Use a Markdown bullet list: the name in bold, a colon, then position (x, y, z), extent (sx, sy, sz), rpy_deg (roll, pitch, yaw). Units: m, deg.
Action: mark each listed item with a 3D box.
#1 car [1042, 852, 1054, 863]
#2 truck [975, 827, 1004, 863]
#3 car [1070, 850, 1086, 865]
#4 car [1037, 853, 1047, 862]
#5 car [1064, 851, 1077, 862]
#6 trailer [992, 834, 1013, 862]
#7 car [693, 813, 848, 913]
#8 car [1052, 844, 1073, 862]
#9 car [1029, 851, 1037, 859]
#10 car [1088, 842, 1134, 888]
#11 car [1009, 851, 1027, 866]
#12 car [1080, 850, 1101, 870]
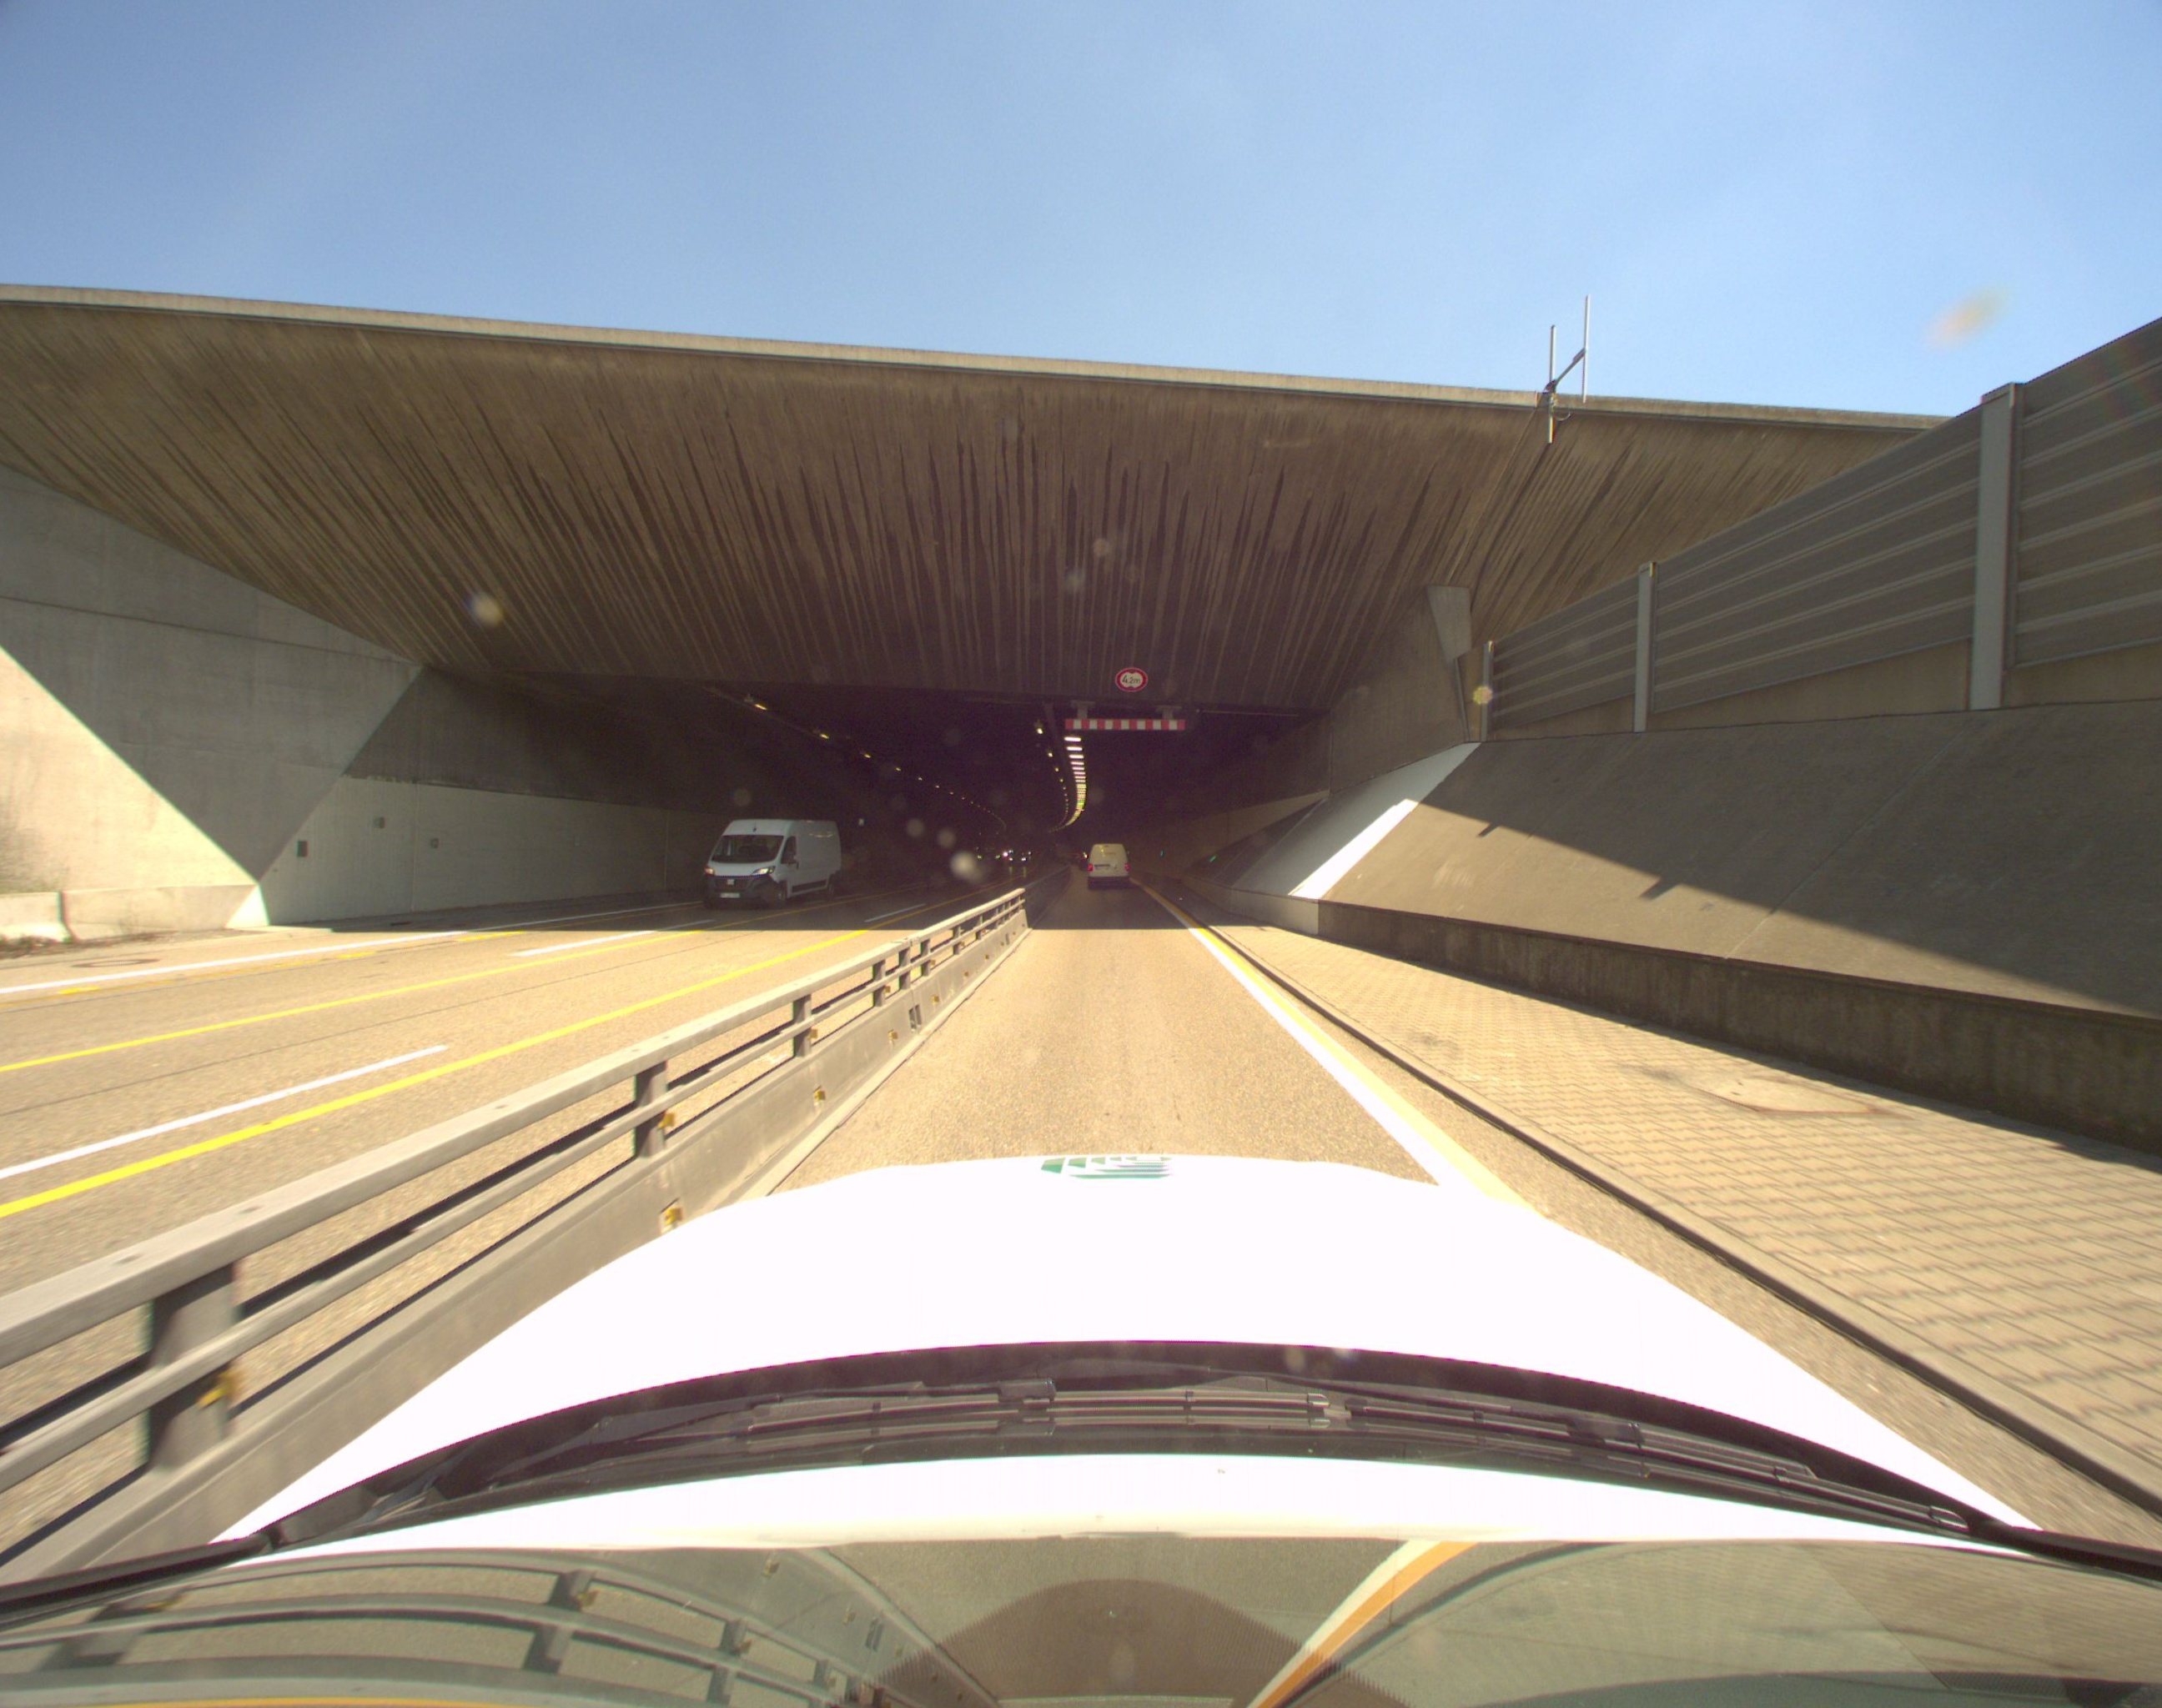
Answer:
- **car**: position (-6.807, 0.759, 168.531), extent (2.033, 2.021, 4.621), rpy_deg (4, 0, -6)
- **truck**: position (-10.323, -0.995, 92.449), extent (2.804, 3.915, 6.448), rpy_deg (-1, 0, -3)
- **car**: position (-0.337, 0.376, 91.234), extent (1.594, 1.546, 3.675), rpy_deg (-1, 0, -2)
- **car**: position (-8.814, 0.814, 183.771), extent (1.939, 2.021, 4.648), rpy_deg (0, 0, -8)
- **car**: position (-1.522, 0.342, 114.112), extent (1.595, 1.546, 3.672), rpy_deg (-1, 0, -4)
- **trailer**: position (-12.017, -0.882, 126.140), extent (2.639, 4.134, 15.440), rpy_deg (-1, 0, -3)
- **car**: position (-8.817, 0.219, 23.839), extent (1.986, 2.515, 6.045), rpy_deg (-1, 0, 2)
- **car**: position (-2.997, -0.228, 132.372), extent (2.810, 2.773, 7.086), rpy_deg (-1, 0, -6)
- **car**: position (-12.620, 0.209, 213.806), extent (1.939, 2.021, 4.648), rpy_deg (-1, 0, -8)
- **car**: position (1.239, 0.472, 34.256), extent (1.802, 1.794, 3.732), rpy_deg (1, -1, 1)
- **car**: position (-6.554, 0.469, 85.239), extent (1.818, 1.456, 4.087), rpy_deg (-1, 0, -4)
- **car**: position (0.762, 0.467, 65.676), extent (1.594, 1.546, 3.676), rpy_deg (-1, 0, -1)
